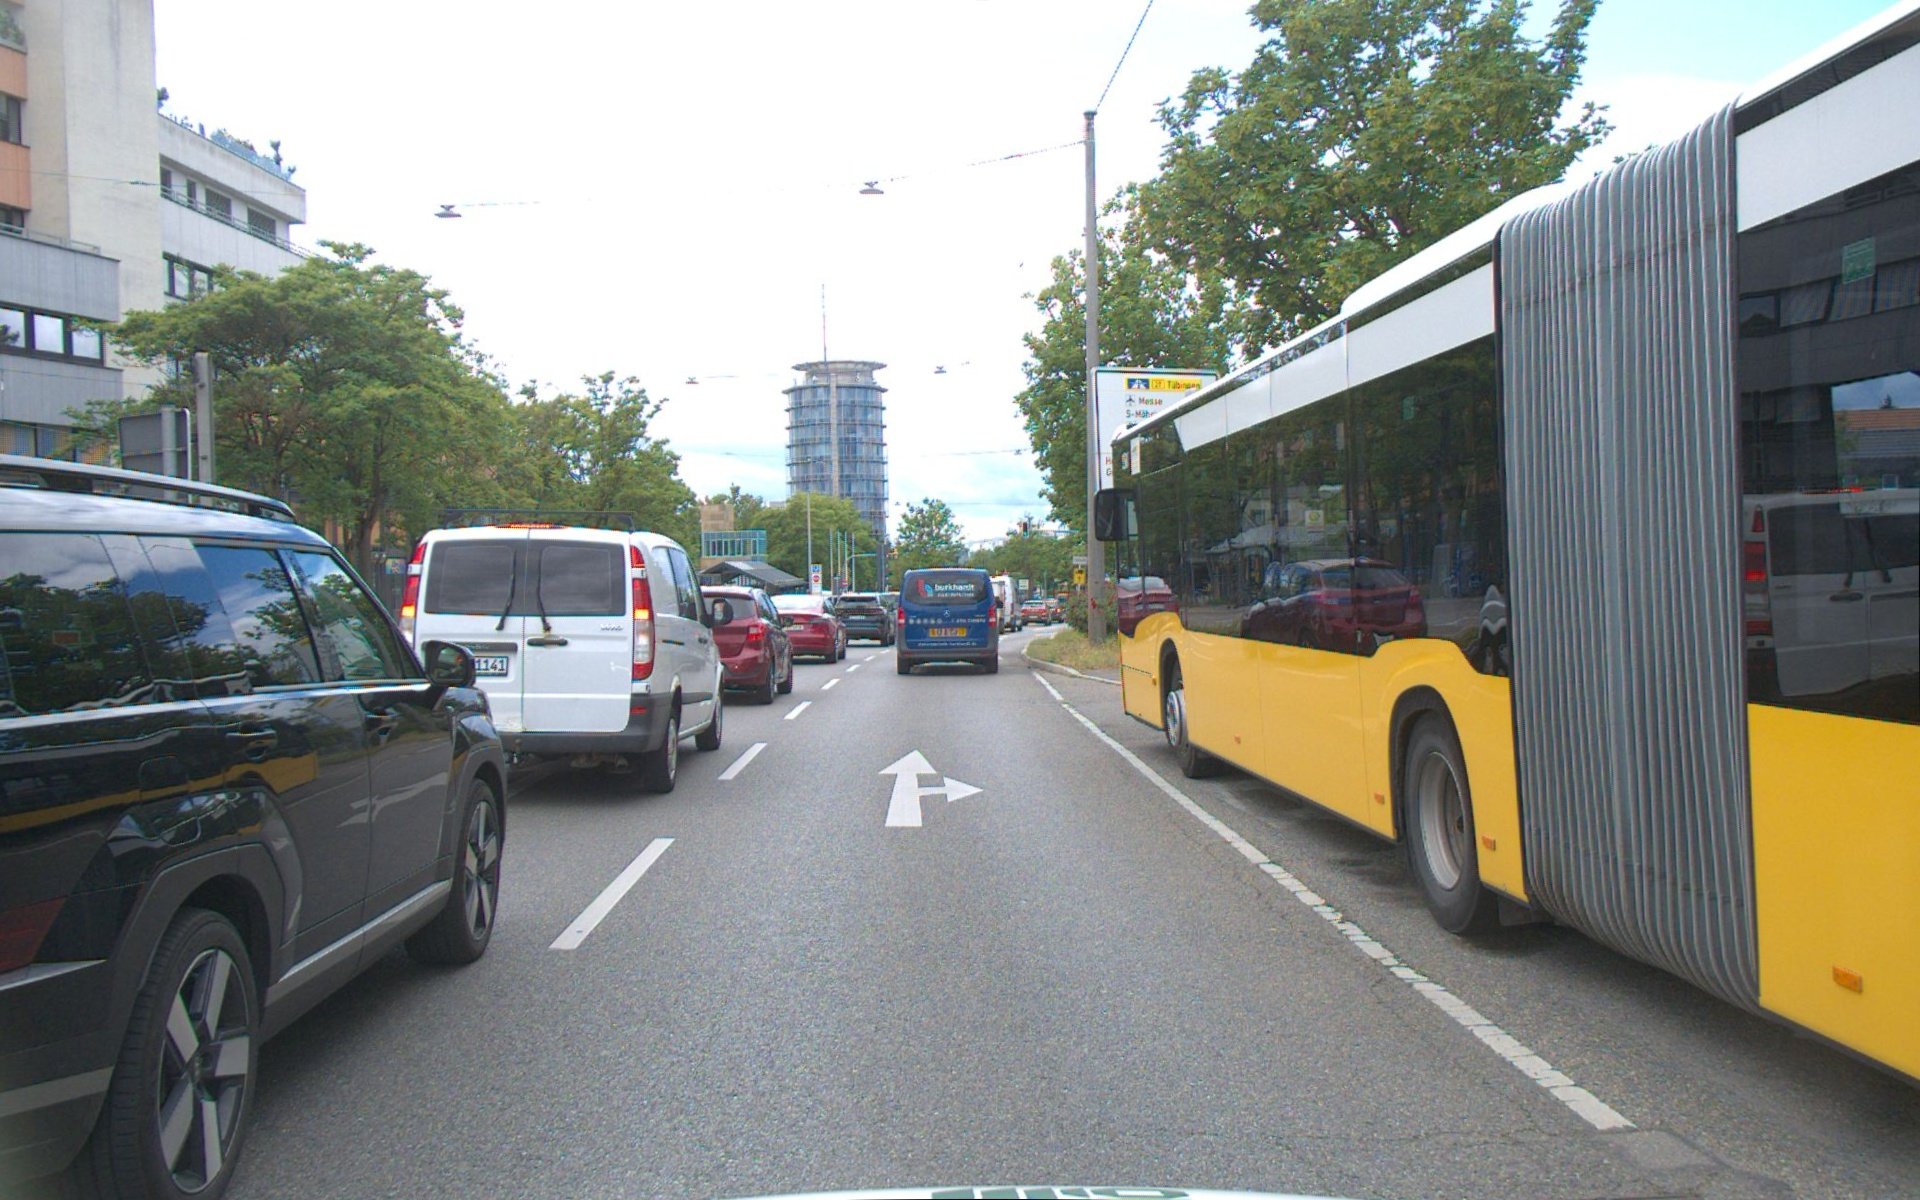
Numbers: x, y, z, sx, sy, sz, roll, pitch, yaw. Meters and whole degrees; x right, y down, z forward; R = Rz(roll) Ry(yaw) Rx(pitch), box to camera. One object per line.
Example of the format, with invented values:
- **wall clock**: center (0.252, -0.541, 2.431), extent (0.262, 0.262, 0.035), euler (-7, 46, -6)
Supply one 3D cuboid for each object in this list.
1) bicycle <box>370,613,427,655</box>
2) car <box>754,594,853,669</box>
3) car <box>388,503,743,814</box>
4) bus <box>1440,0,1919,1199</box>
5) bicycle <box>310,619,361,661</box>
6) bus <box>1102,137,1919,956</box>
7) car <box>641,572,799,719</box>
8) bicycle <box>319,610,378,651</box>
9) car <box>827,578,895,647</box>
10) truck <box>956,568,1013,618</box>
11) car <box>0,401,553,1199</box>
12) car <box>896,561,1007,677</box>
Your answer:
- **bicycle**: center (-18.312, 1.099, 53.942), extent (0.615, 1.275, 1.675), euler (-2, 0, 40)
- **car**: center (-3.381, 0.677, 36.336), extent (1.831, 1.512, 3.999), euler (-2, -1, -1)
- **car**: center (-2.962, 0.368, 13.583), extent (1.836, 2.049, 5.074), euler (-1, 0, -2)
- **bus**: center (3.548, -0.190, 2.246), extent (2.658, 3.162, 8.865), euler (-3, 1, -3)
- **bicycle**: center (-20.053, 1.276, 53.105), extent (0.424, 1.275, 1.462), euler (-2, 0, 42)
- **bus**: center (3.062, -0.315, 11.287), extent (2.659, 3.218, 9.121), euler (-3, 1, -4)
- **car**: center (-3.223, 0.587, 22.886), extent (1.712, 1.753, 3.997), euler (-3, 0, -3)
- **bicycle**: center (-19.807, 0.982, 53.575), extent (0.615, 1.275, 1.675), euler (-2, 0, 40)
- **car**: center (-3.057, 0.348, 51.772), extent (1.953, 2.049, 3.999), euler (-1, 1, -1)
- **truck**: center (1.167, -0.328, 76.325), extent (1.951, 2.203, 5.563), euler (0, 0, 8)
- **car**: center (-2.662, 0.554, 4.957), extent (1.884, 1.782, 4.676), euler (0, 0, -2)
- **car**: center (-0.196, 0.338, 31.344), extent (1.908, 2.000, 4.540), euler (-1, 0, -1)
